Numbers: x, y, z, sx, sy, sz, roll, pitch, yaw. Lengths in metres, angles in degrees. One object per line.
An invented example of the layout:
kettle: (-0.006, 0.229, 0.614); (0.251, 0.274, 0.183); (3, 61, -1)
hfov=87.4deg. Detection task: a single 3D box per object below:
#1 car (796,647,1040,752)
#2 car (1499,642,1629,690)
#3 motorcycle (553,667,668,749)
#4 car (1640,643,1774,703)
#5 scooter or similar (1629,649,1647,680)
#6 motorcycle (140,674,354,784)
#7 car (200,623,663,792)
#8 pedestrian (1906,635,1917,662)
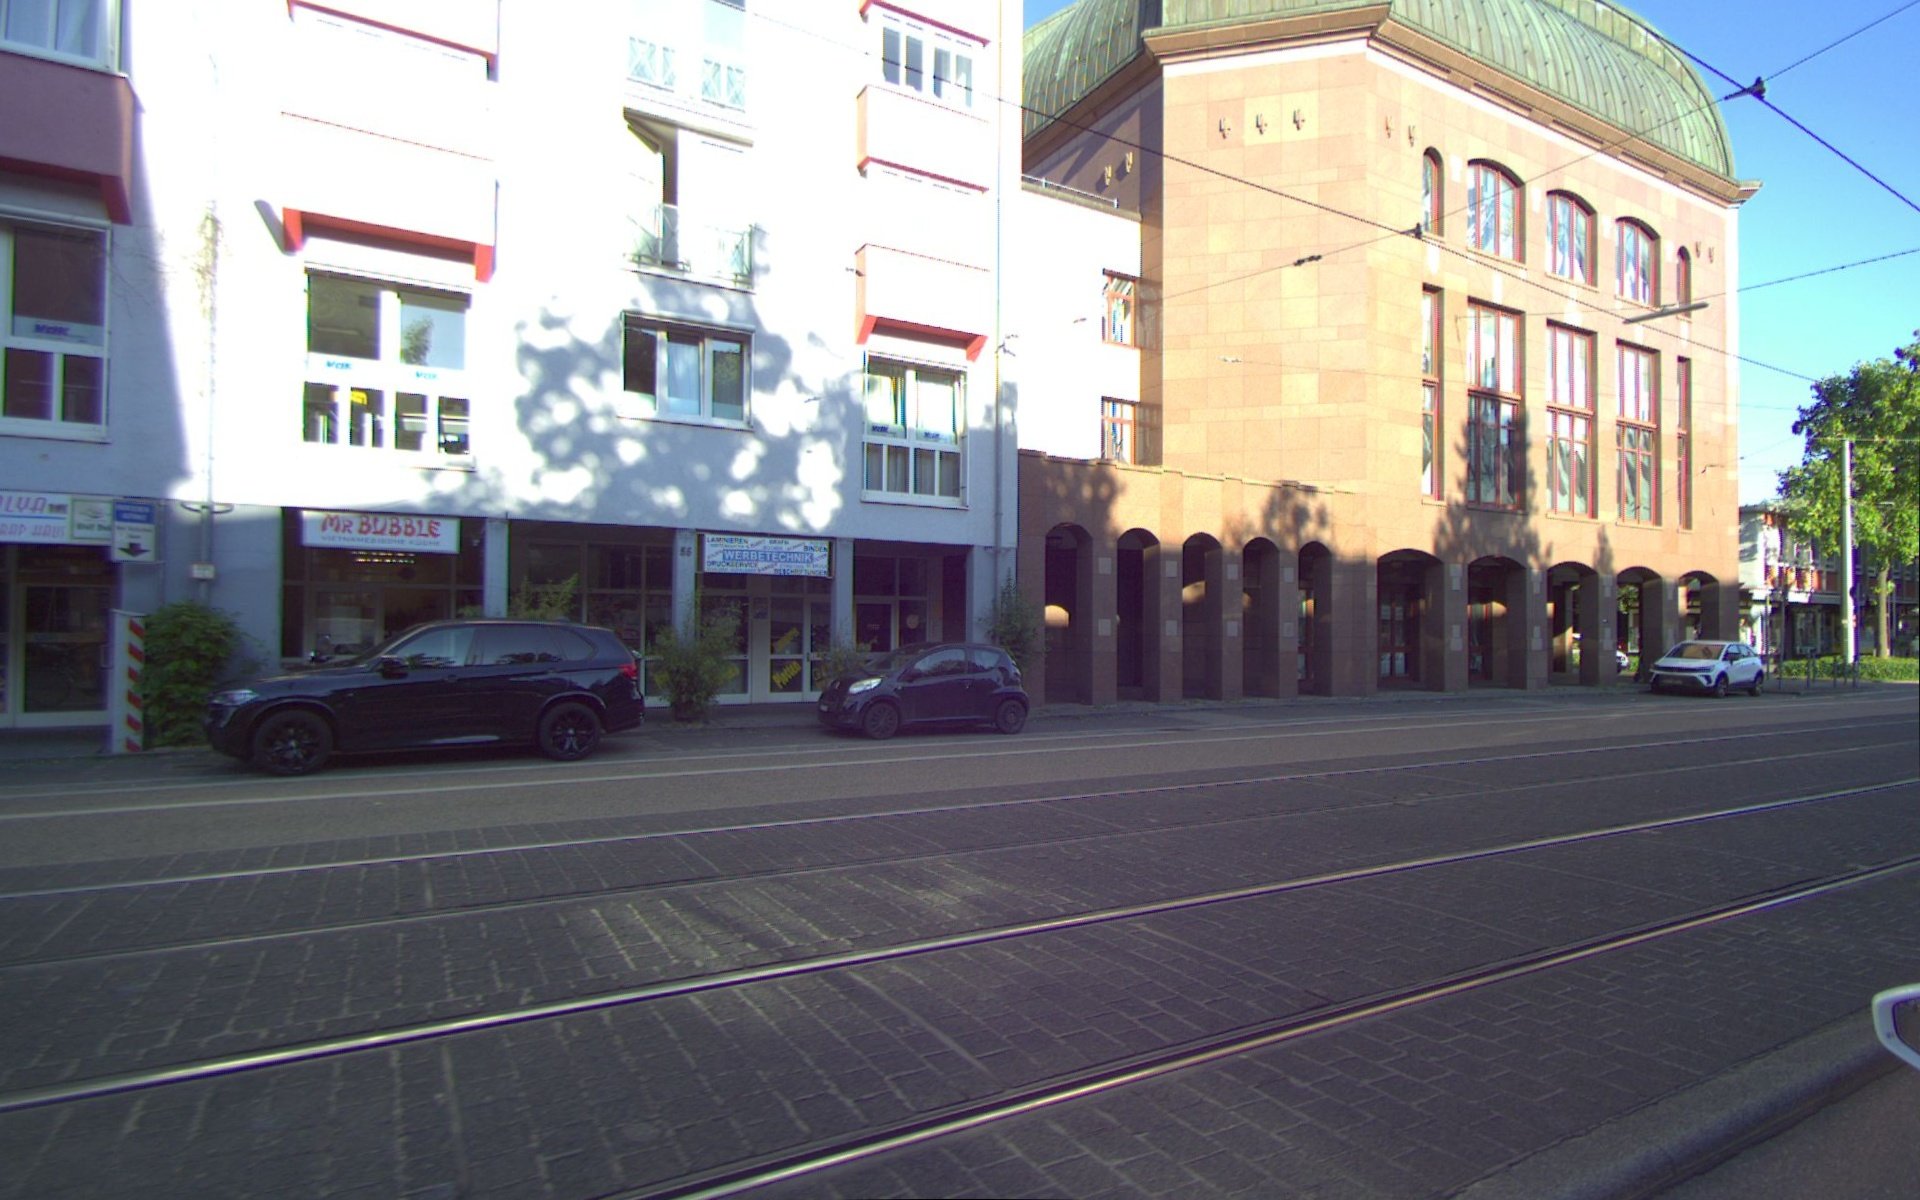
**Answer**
car: (-0.688, 1.543, 16.381); (3.537, 1.470, 1.862); (1, -1, -27)
car: (28.610, 3.070, 47.713); (2.135, 2.020, 4.875); (1, -2, -40)
motorcycle: (-5.237, 1.593, 15.094); (1.526, 1.148, 0.567); (2, -1, -31)
car: (22.147, 2.103, 29.747); (4.208, 1.621, 1.859); (1, -1, -33)
scooter or similar: (21.959, 2.094, 32.536); (0.358, 0.951, 0.968); (2, 1, 40)
motorcycle: (-9.096, 1.604, 12.889); (0.662, 1.221, 2.129); (1, -1, 43)
car: (-6.425, 1.236, 12.676); (4.764, 1.735, 2.080); (2, -1, -31)
pedestrian: (49.547, 2.511, 52.323); (0.358, 1.361, 0.481); (2, 1, 40)
